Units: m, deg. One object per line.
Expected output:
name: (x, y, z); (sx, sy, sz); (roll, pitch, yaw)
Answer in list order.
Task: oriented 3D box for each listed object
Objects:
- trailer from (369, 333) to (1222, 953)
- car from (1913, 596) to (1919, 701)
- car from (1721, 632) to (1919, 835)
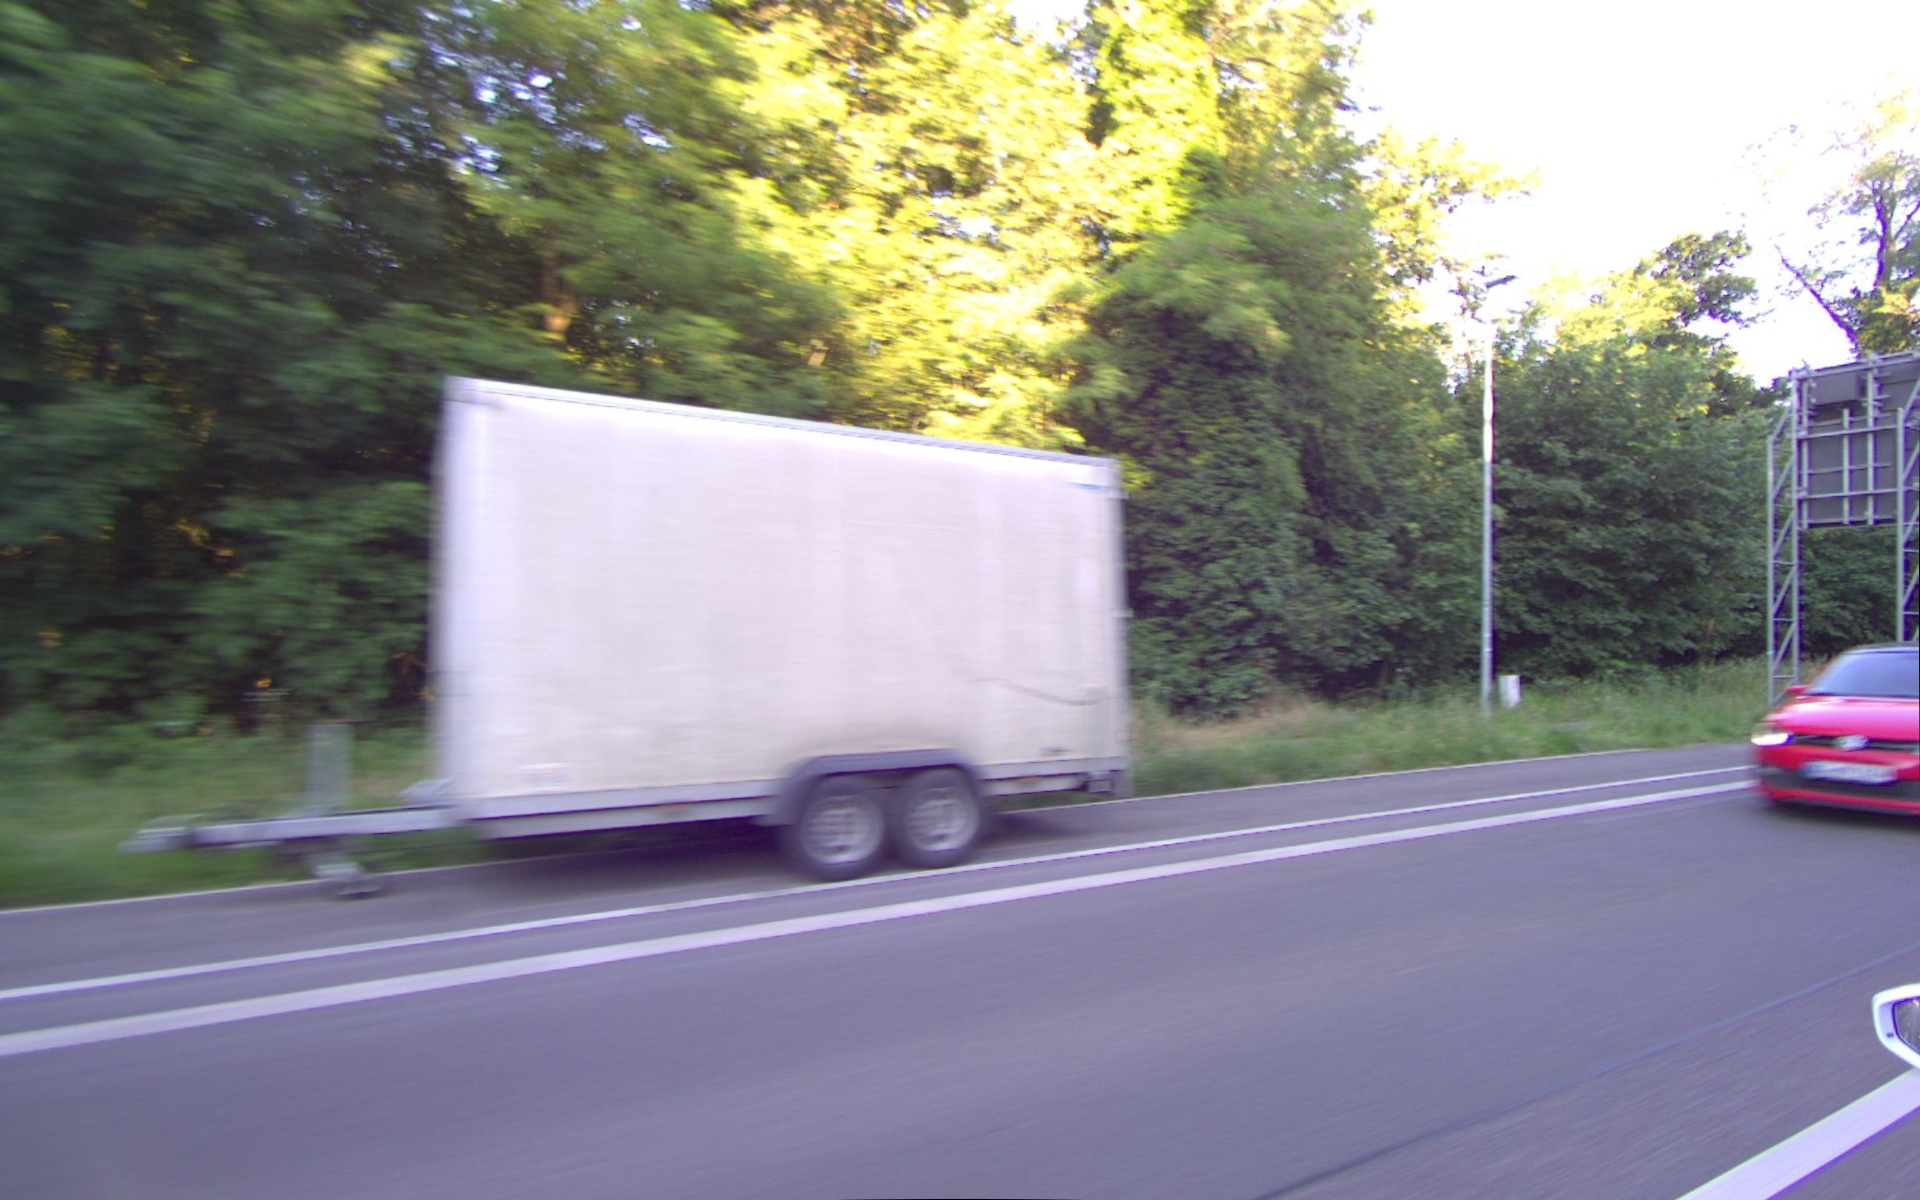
trailer: (-0.990, 0.309, 7.235); (5.562, 2.962, 2.315); (1, -4, -31)
car: (21.581, 1.130, 20.144); (5.698, 2.395, 1.985); (1, -4, -30)
car: (8.628, 1.044, 8.823); (3.990, 1.505, 1.675); (1, -2, -30)
